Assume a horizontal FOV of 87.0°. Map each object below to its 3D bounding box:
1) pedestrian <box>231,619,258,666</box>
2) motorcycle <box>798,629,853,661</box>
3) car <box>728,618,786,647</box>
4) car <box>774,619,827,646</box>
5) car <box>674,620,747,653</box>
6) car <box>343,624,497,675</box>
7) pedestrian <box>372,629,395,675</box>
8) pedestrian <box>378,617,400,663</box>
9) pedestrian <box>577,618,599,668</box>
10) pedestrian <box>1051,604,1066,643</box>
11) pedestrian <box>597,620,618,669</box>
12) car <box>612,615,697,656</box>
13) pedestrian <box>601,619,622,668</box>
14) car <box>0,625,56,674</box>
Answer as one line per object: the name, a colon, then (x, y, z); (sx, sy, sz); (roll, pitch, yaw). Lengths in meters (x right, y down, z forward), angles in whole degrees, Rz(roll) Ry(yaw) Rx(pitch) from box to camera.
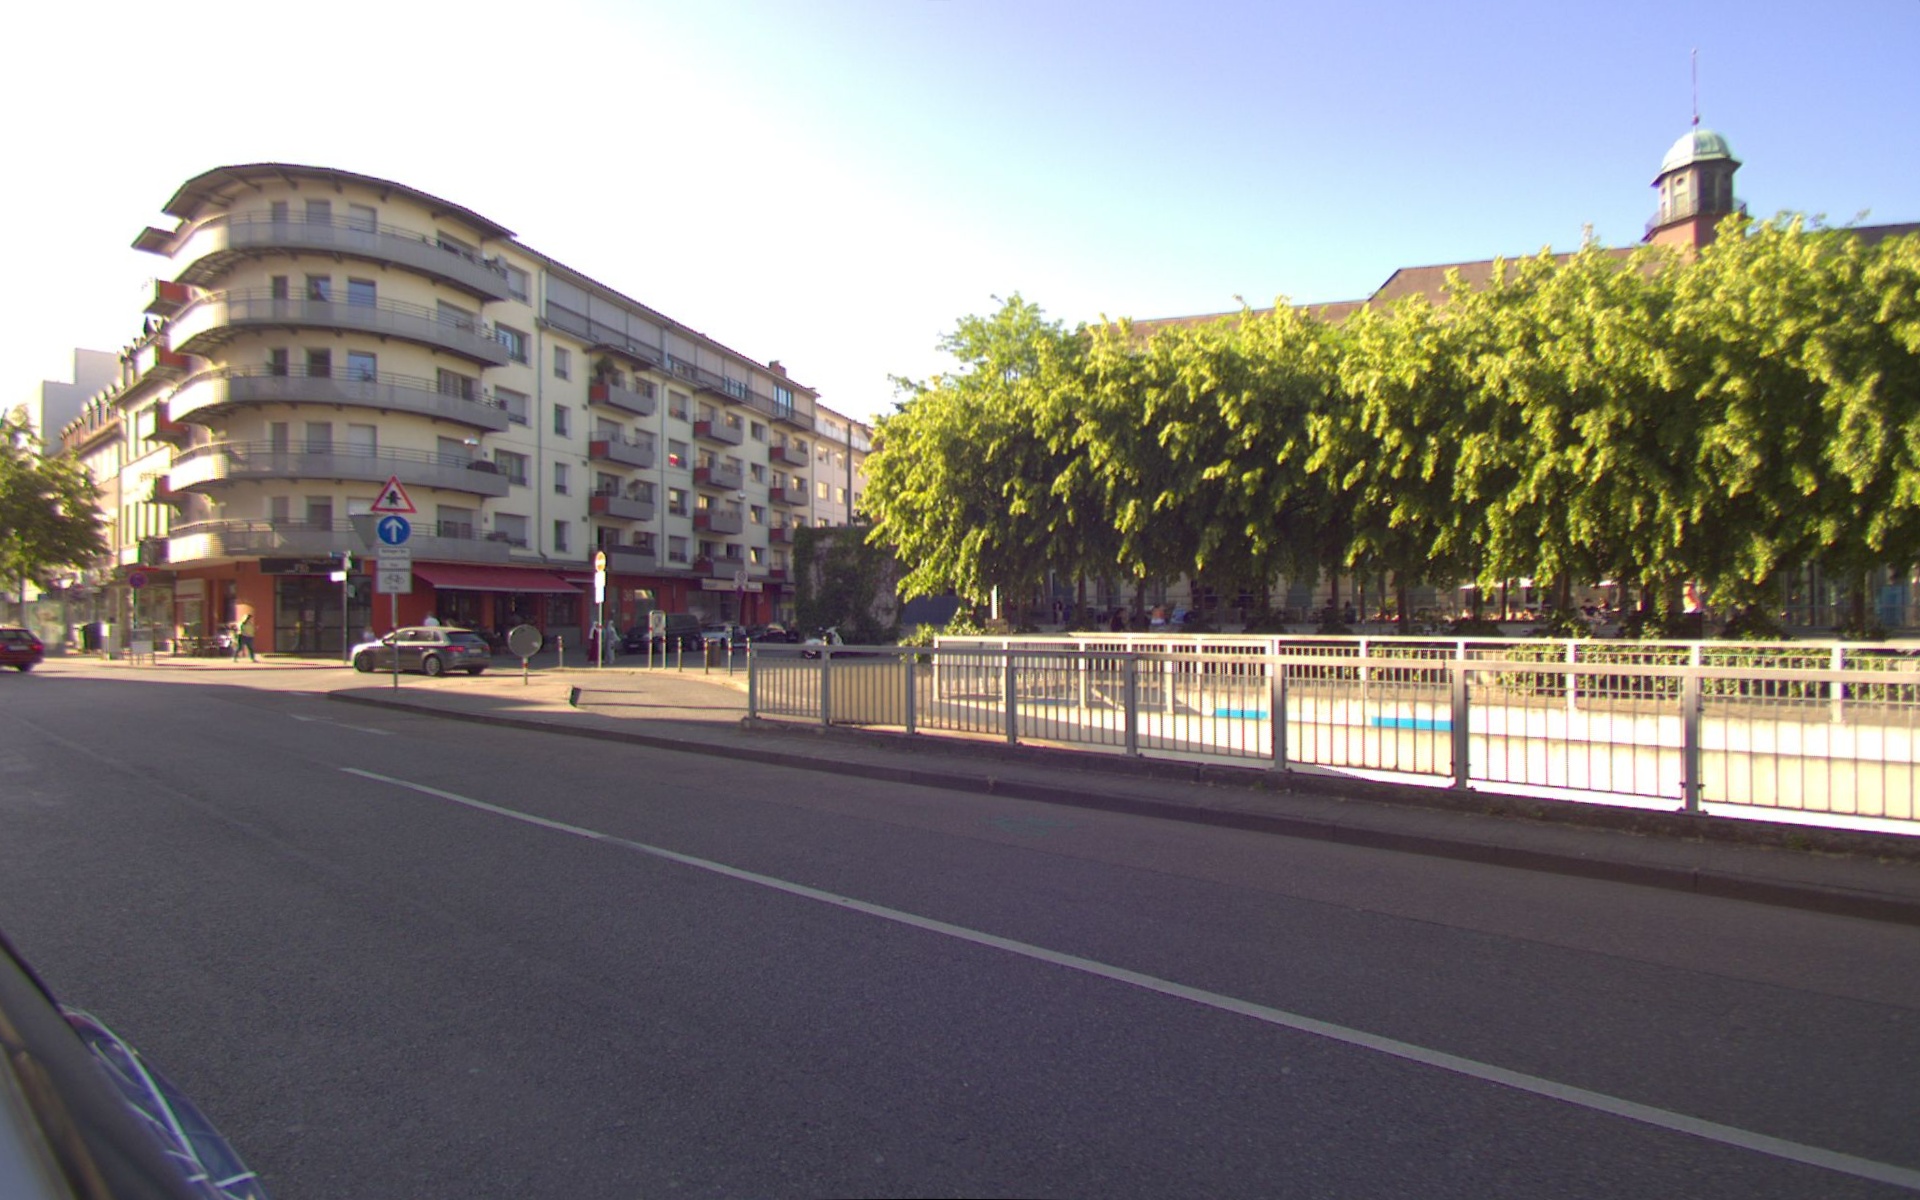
pedestrian: (-25.309, 1.508, 35.815); (0.792, 1.634, 0.563); (-2, -1, 38)
motorcycle: (-5.030, 1.663, 37.932); (1.898, 1.110, 0.684); (-1, -1, -26)
car: (-12.226, 1.958, 61.244); (1.776, 1.633, 3.914); (-1, -1, 17)
car: (-10.422, 2.136, 66.402); (1.777, 1.633, 3.911); (-1, -1, 19)
car: (-13.585, 1.952, 55.356); (1.939, 1.633, 4.272); (-1, -1, 17)
car: (-15.848, 1.448, 29.744); (3.892, 1.407, 1.798); (-1, -1, 17)
pedestrian: (-21.866, 1.974, 38.374); (0.642, 1.721, 0.568); (-2, -1, 44)
pedestrian: (-21.373, 1.487, 37.889); (0.642, 1.721, 0.568); (-2, -1, 44)
pedestrian: (-13.701, 1.591, 37.294); (0.574, 1.806, 0.602); (-1, 0, -4)
pedestrian: (4.637, 1.094, 47.618); (0.578, 1.806, 0.597); (-1, 0, 21)
pedestrian: (-13.197, 1.672, 37.922); (0.574, 1.806, 0.602); (-1, 0, -4)
car: (-15.070, 1.723, 50.198); (1.939, 1.927, 4.402); (-1, -1, 17)
pedestrian: (-13.246, 1.651, 38.467); (0.574, 1.806, 0.601); (-1, 0, 1)
car: (-29.968, 1.494, 30.473); (4.207, 1.407, 1.891); (-1, -1, 9)
